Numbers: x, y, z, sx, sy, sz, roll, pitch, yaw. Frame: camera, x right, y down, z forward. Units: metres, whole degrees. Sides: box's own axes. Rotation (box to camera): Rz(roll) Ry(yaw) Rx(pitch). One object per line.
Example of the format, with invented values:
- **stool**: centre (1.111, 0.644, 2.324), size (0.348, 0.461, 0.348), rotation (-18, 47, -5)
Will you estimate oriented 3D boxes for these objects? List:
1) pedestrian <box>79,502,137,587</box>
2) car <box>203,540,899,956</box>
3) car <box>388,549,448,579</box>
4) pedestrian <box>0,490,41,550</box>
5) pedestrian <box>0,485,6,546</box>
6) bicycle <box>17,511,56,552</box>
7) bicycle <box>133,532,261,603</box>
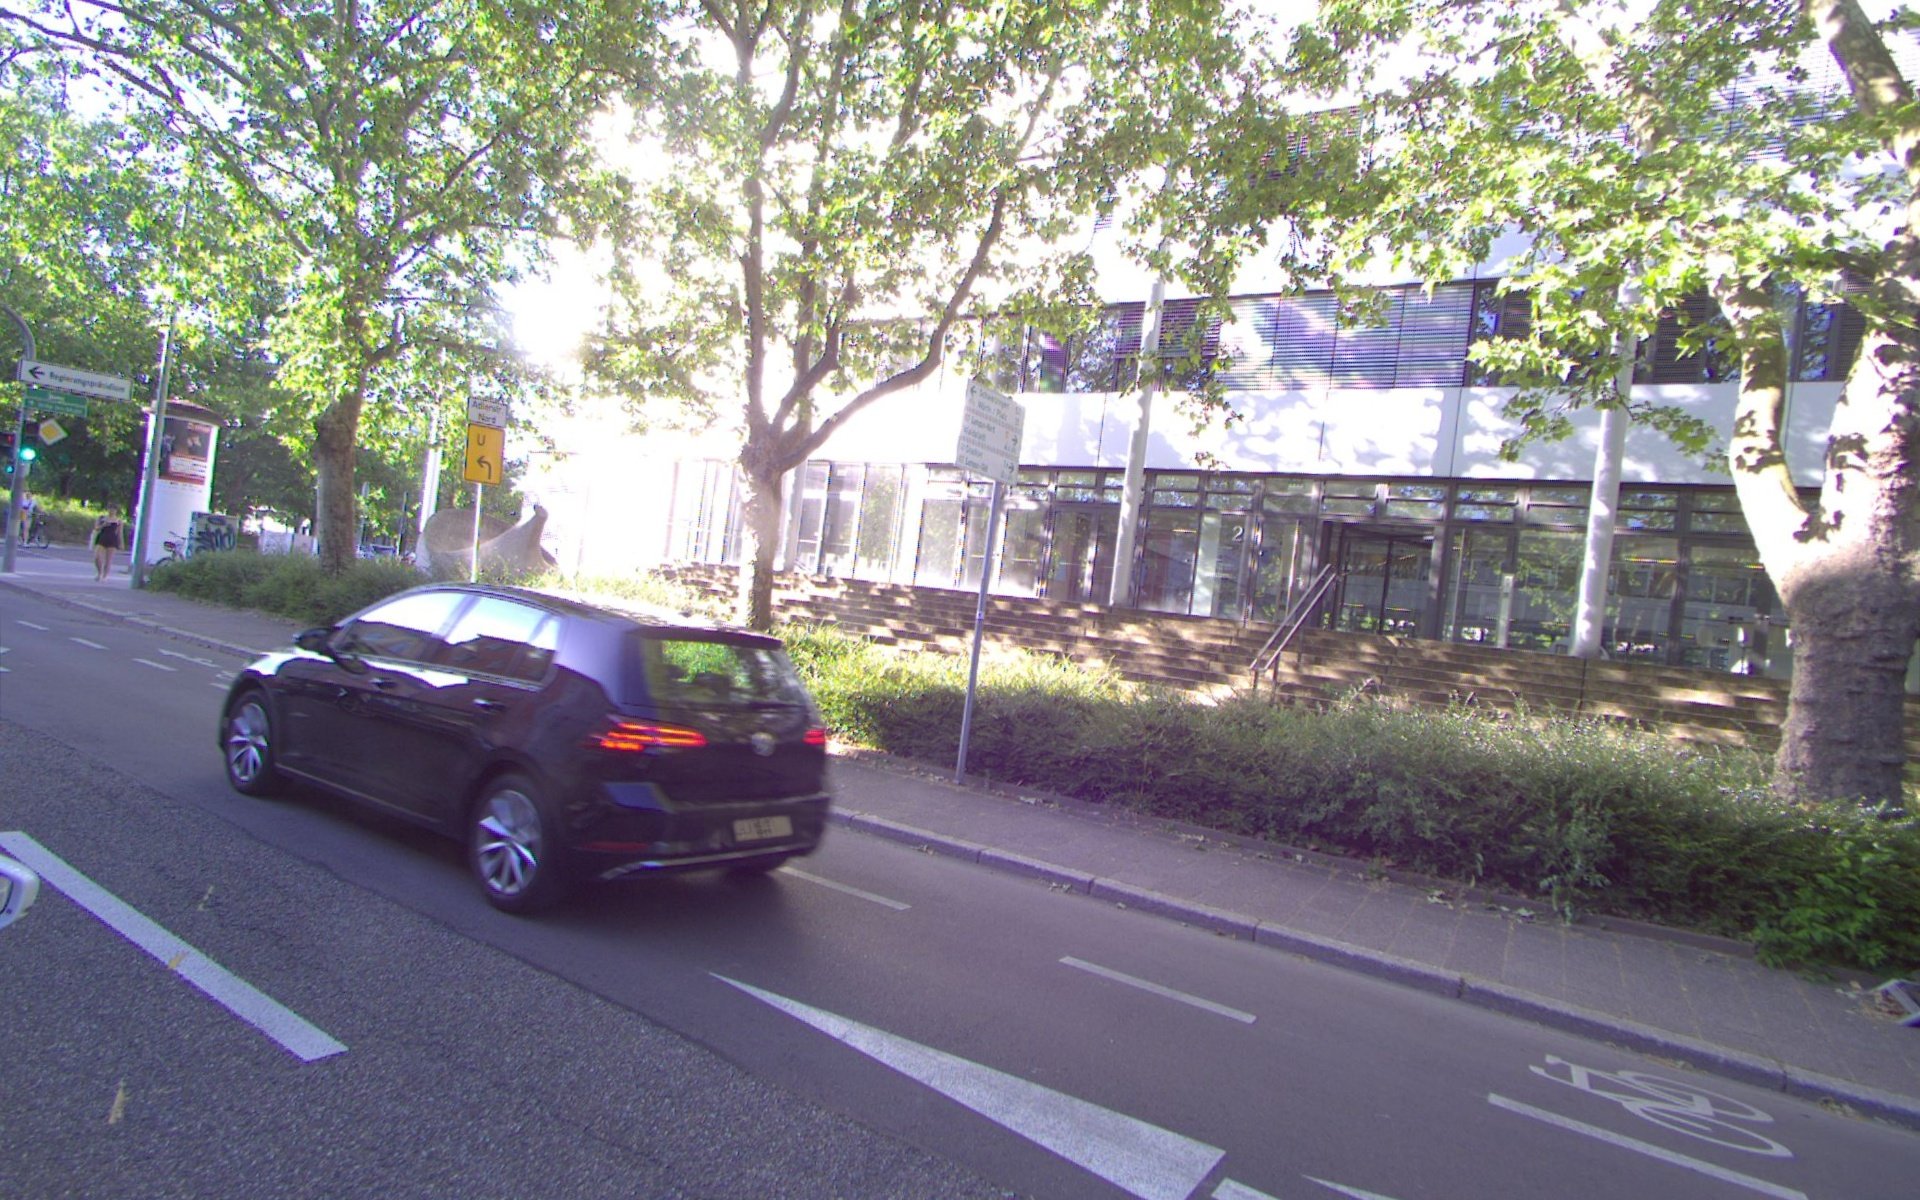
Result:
- **pedestrian**: centre (-17.737, -1.141, 20.947), size (0.794, 1.651, 0.897), rotation (5, 1, -41)
- **car**: centre (-2.468, 0.627, 5.787), size (3.839, 1.456, 1.693), rotation (6, -3, 33)
- **car**: centre (-35.554, -2.345, 65.975), size (3.732, 1.500, 1.633), rotation (6, -2, 31)
- **pedestrian**: centre (-28.912, -2.468, 30.928), size (0.956, 1.717, 0.683), rotation (6, -1, 39)
- **pedestrian**: centre (-29.360, -2.592, 30.236), size (0.895, 1.830, 0.732), rotation (5, 0, 36)
- **bicycle**: centre (-28.686, -2.133, 31.241), size (1.715, 1.113, 0.524), rotation (6, -1, 38)
- **bicycle**: centre (-15.933, -0.659, 21.059), size (0.519, 1.203, 1.980), rotation (7, -2, 30)
